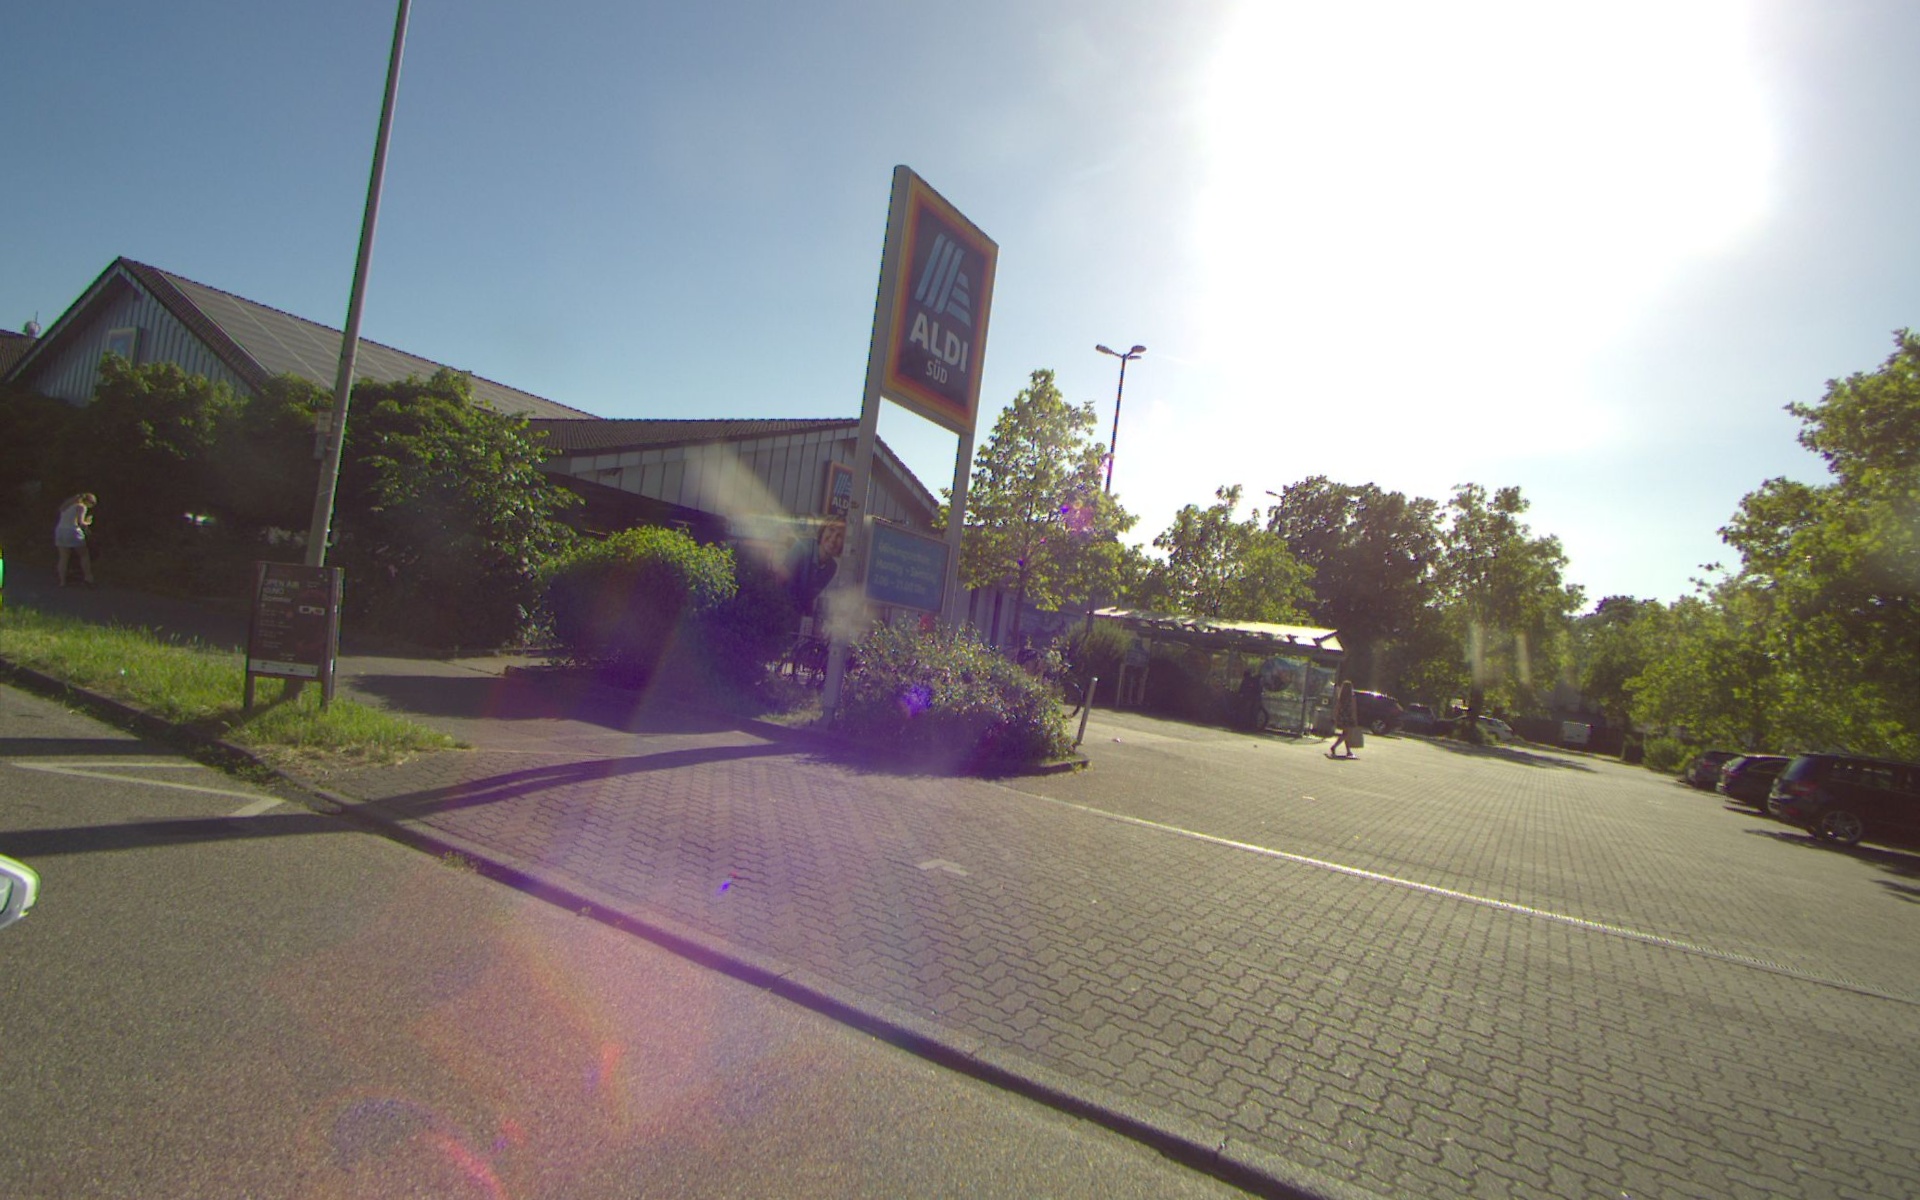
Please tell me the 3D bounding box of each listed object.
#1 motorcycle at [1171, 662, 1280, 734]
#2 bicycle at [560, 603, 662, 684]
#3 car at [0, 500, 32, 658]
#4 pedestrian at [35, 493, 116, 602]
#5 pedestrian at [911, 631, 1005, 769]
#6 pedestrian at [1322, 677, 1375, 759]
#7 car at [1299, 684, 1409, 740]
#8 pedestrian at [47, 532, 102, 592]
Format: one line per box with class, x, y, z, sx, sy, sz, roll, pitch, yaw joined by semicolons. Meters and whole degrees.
motorcycle;7.142;2.625;27.133;2.554;1.526;0.871;7;-2;32
bicycle;-6.361;0.797;18.381;1.508;1.257;0.562;8;-1;4
car;-10.890;-0.394;9.590;3.960;1.615;1.687;6;-5;30
pedestrian;-15.878;-0.940;18.060;0.797;1.802;0.798;7;-1;39
pedestrian;-0.024;1.287;13.013;0.688;1.650;0.769;9;-1;-38
pedestrian;8.599;2.596;22.251;0.814;1.675;0.673;7;-1;30
car;16.717;4.731;42.696;3.934;1.725;1.998;7;-2;32
pedestrian;-16.469;-0.707;18.709;0.798;0.991;0.532;6;-2;39
